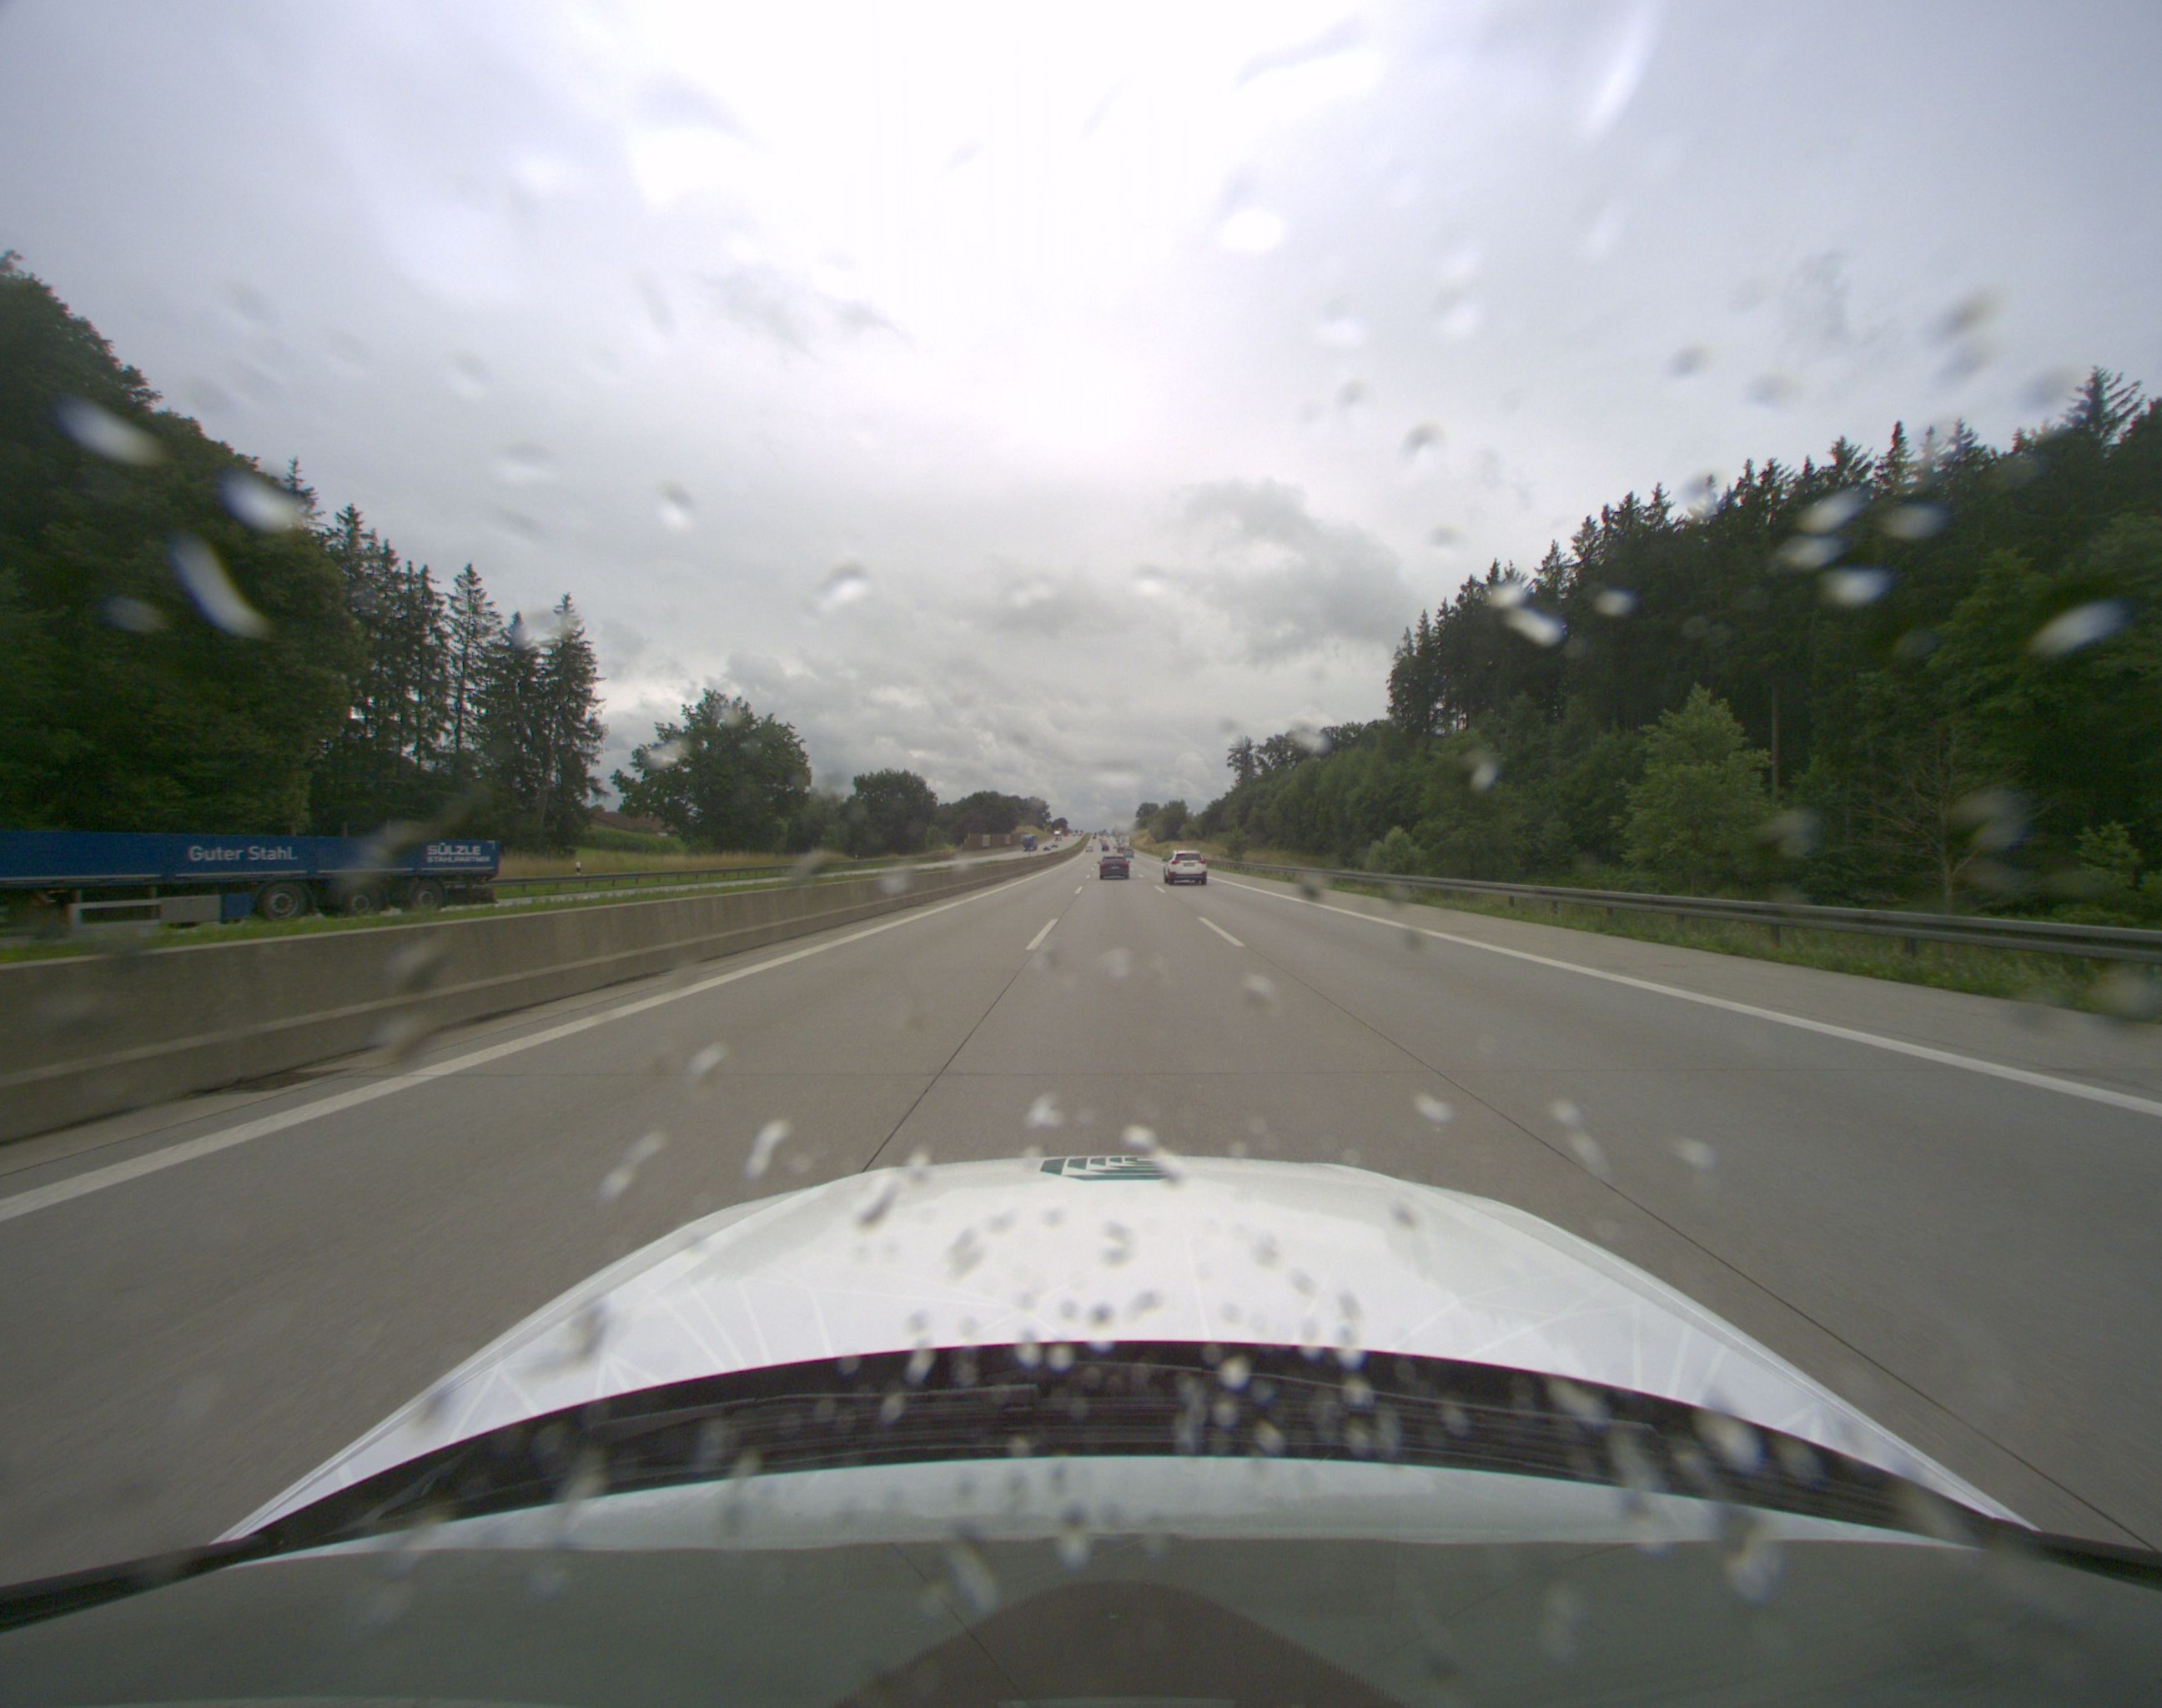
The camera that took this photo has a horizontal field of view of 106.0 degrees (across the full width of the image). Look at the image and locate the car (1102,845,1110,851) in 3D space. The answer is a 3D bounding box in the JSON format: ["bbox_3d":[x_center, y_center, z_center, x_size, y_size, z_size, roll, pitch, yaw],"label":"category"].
[{"bbox_3d":[6.382,-1.520,206.680,1.927,1.375,4.597,0,0,2],"label":"car"}]

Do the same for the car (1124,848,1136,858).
[{"bbox_3d":[8.057,-0.153,134.629,1.986,1.530,4.002,0,0,2],"label":"car"}]

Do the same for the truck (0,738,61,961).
[{"bbox_3d":[-18.490,-0.086,10.255,2.746,3.517,6.643,0,-1,2],"label":"truck"}]

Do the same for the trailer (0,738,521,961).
[{"bbox_3d":[-18.264,-0.034,17.266,2.775,3.508,13.890,0,0,2],"label":"trailer"}]

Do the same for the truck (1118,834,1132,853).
[{"bbox_3d":[9.999,-2.442,185.820,3.006,4.180,8.357,0,1,1],"label":"truck"}]

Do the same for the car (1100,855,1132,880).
[{"bbox_3d":[2.044,0.800,48.665,1.747,1.398,4.483,0,-1,0],"label":"car"}]

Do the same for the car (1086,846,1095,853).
[{"bbox_3d":[2.337,-1.110,202.344,1.940,1.356,4.261,-1,-2,2],"label":"car"}]

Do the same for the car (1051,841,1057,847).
[{"bbox_3d":[-8.489,-3.200,253.754,1.810,1.767,4.732,0,0,0],"label":"car"}]

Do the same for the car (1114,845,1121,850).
[{"bbox_3d":[10.897,-1.991,243.788,1.985,1.640,4.004,0,1,3],"label":"car"}]

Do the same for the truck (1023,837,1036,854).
[{"bbox_3d":[-13.149,-2.141,207.983,2.681,4.188,6.213,0,0,2],"label":"truck"}]

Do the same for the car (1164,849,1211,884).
[{"bbox_3d":[5.156,0.586,39.927,1.819,1.655,3.985,0,0,0],"label":"car"}]
